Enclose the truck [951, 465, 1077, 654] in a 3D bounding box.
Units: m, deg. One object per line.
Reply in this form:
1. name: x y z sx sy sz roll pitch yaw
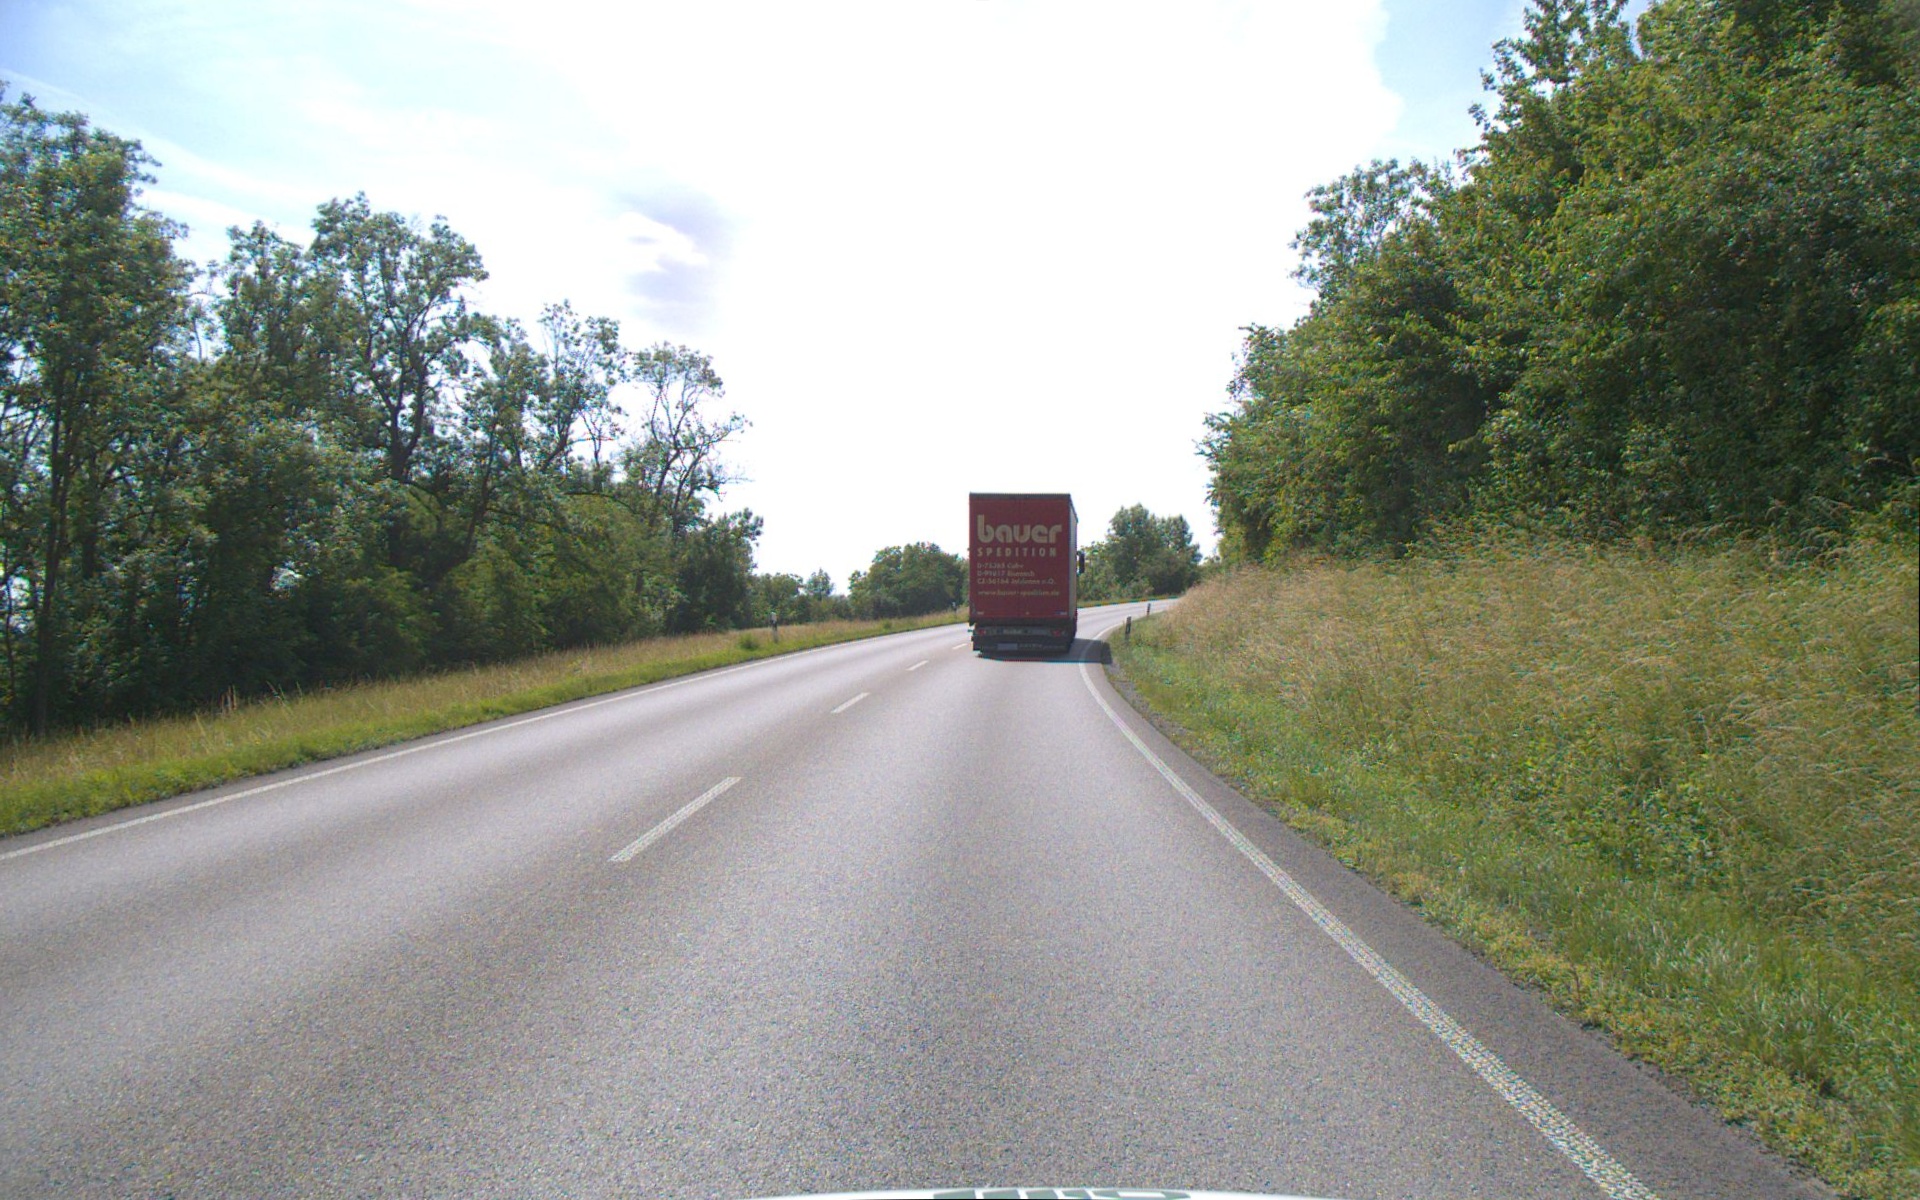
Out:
1. truck: 1.711 -1.022 46.240 3.047 4.584 12.173 0 0 4
